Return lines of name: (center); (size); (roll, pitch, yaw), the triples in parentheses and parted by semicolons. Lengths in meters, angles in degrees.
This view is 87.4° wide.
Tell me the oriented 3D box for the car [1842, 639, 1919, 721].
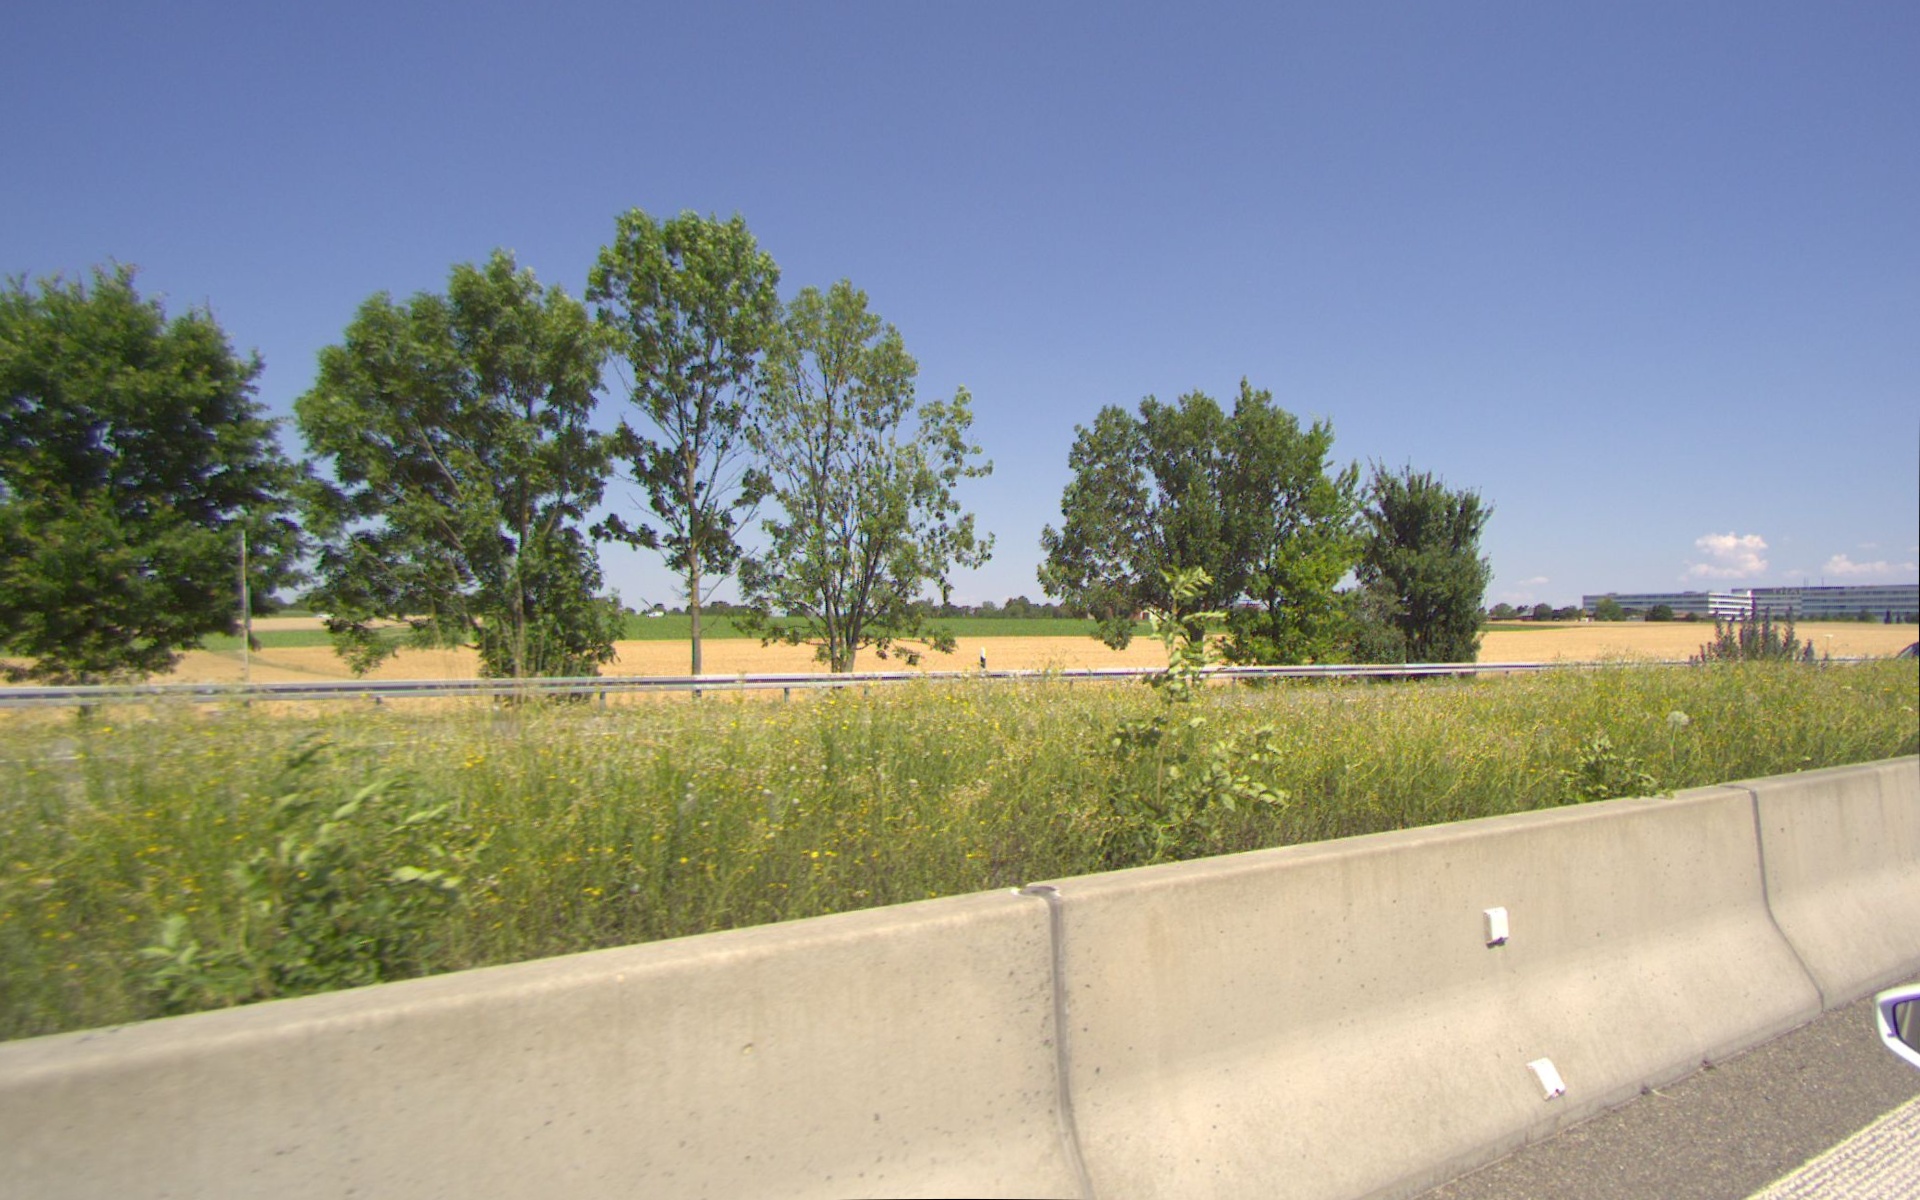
car: (19.456, 1.563, 20.214); (3.730, 1.506, 1.532); (1, -1, -31)
